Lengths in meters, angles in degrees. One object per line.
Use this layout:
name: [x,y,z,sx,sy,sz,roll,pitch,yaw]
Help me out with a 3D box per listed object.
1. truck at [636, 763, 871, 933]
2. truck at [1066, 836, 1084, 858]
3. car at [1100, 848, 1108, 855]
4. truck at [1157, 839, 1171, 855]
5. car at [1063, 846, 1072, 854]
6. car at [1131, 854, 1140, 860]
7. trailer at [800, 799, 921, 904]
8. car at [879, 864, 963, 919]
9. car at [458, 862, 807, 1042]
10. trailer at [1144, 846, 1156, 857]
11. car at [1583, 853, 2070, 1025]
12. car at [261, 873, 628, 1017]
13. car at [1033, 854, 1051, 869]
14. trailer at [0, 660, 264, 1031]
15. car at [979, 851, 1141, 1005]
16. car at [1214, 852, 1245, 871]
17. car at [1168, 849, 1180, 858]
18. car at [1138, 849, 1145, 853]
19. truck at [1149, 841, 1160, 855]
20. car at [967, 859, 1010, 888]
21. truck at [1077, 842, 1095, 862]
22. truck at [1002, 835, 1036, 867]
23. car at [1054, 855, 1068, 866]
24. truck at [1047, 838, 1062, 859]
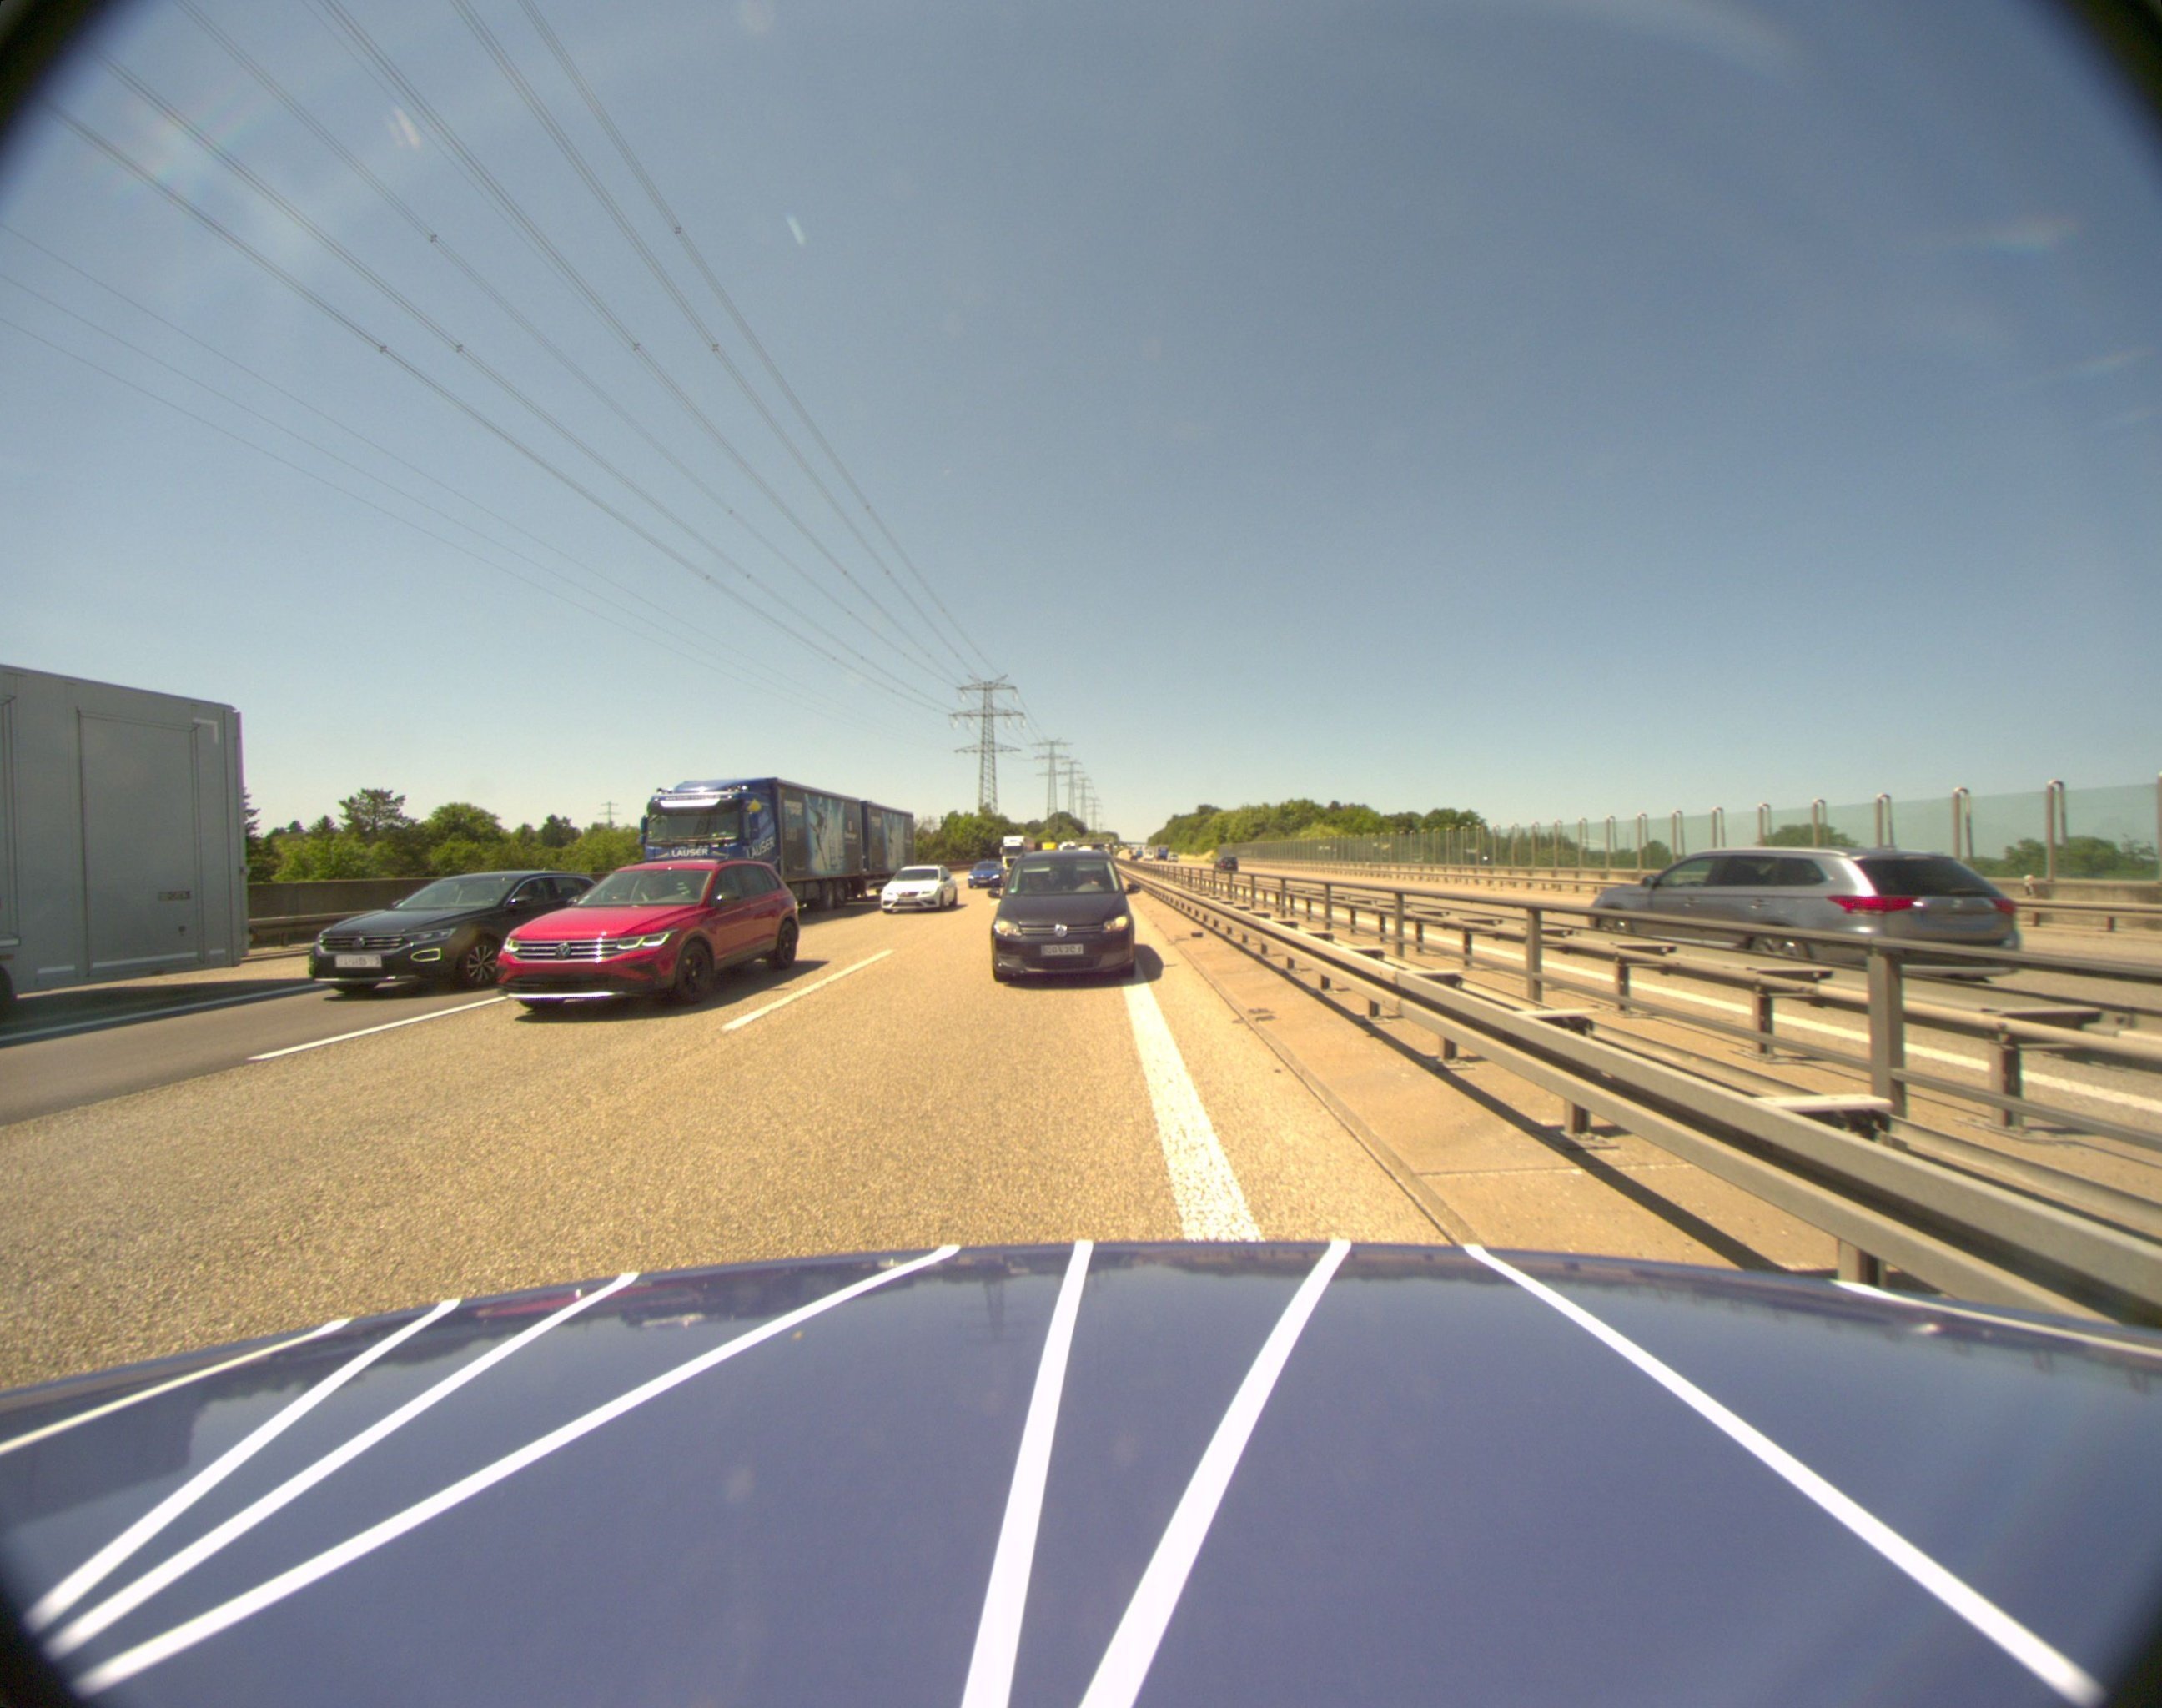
truck: [-9.346,-0.143,23.565,2.529,4.043,10.447,-2,0,1]
truck: [-1.077,-1.267,144.112,2.980,3.832,10.562,-2,0,1]
car: [6.319,-0.652,207.965,1.998,2.002,4.000,-2,1,1]
truck: [21.529,-1.758,197.198,2.876,4.062,9.989,1,1,2]
car: [-3.379,-0.888,187.669,1.998,2.002,4.000,0,0,1]
car: [12.946,0.633,179.875,1.772,1.411,4.266,0,0,1]
trailer: [-9.253,-0.084,33.086,2.572,3.921,8.479,-2,0,1]
car: [-5.005,1.114,24.344,1.843,1.481,4.071,-2,0,-1]
car: [-5.094,0.968,9.461,1.779,1.652,4.224,-1,0,0]
trailer: [16.767,-0.536,185.689,2.322,2.690,6.361,1,0,1]
car: [8.800,0.833,9.701,1.810,1.618,4.477,-2,0,0]
car: [-8.705,1.124,10.978,1.740,1.518,4.106,-2,0,1]
car: [-4.281,0.815,83.434,1.763,1.495,4.094,-1,0,0]
trailer: [-13.201,-0.048,4.108,2.542,4.095,13.771,-2,0,0]
car: [-0.222,0.817,10.475,1.740,1.652,4.000,-2,0,0]
car: [13.654,0.652,70.058,1.999,1.662,4.186,1,0,0]
car: [20.055,-0.097,163.988,2.039,1.972,4.489,2,0,1]
car: [18.481,-0.898,233.026,1.853,1.386,4.000,2,0,1]
truck: [23.431,-1.934,243.041,2.876,4.514,9.989,1,1,2]
car: [-5.117,1.058,42.650,1.739,1.437,4.211,-1,0,2]
truck: [0.703,-0.271,99.691,2.284,2.479,5.861,-2,0,1]
truck: [-7.395,-0.396,91.951,2.985,3.538,10.967,-2,0,1]
car: [-2.655,0.884,103.173,1.763,1.495,4.094,-1,0,0]
truck: [-5.293,-1.132,150.613,2.346,4.058,8.278,-2,1,1]
